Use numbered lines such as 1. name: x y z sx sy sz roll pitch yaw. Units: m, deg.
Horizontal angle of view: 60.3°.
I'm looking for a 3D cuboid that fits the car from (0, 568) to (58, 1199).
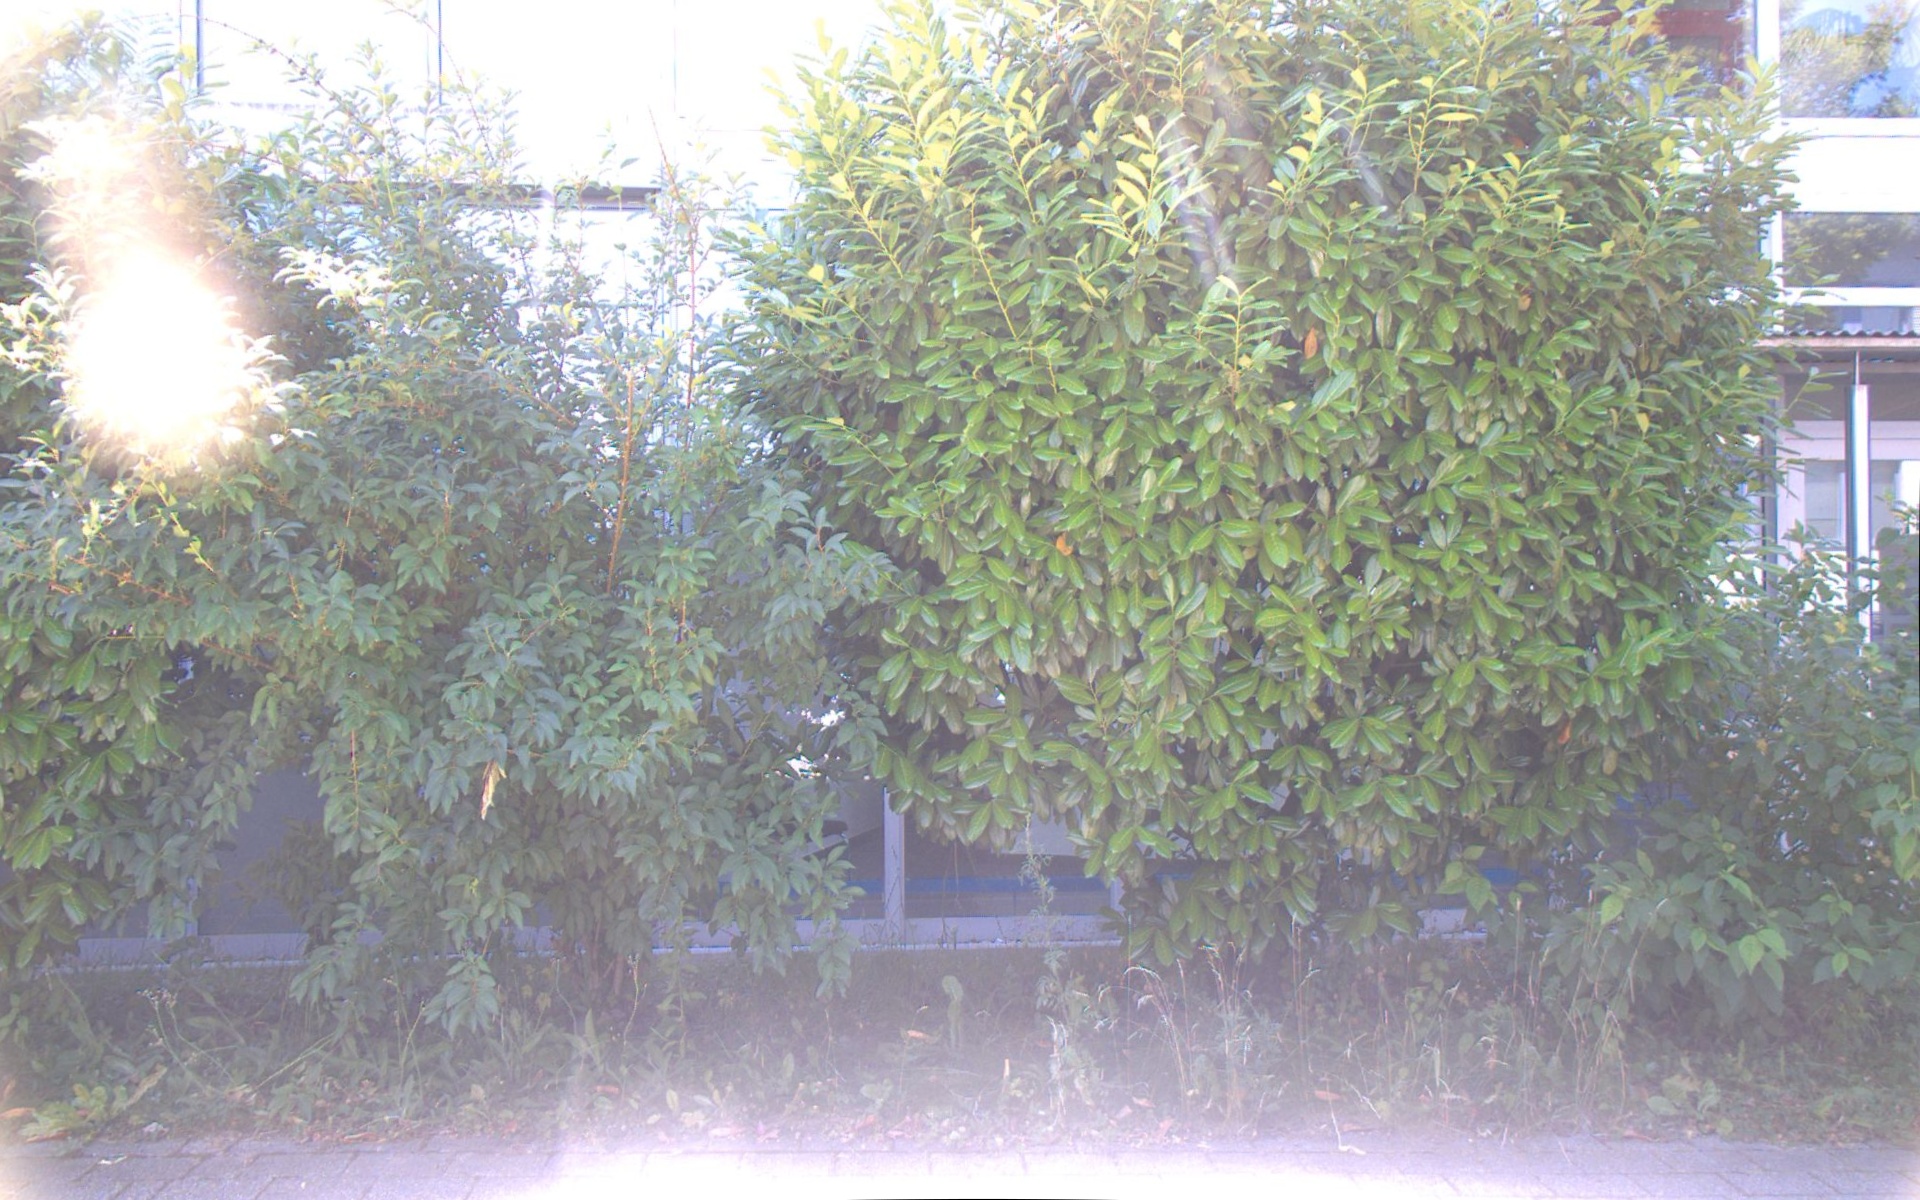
1. car: -2.125 0.694 0.450 1.686 1.505 4.343 1 0 -5
